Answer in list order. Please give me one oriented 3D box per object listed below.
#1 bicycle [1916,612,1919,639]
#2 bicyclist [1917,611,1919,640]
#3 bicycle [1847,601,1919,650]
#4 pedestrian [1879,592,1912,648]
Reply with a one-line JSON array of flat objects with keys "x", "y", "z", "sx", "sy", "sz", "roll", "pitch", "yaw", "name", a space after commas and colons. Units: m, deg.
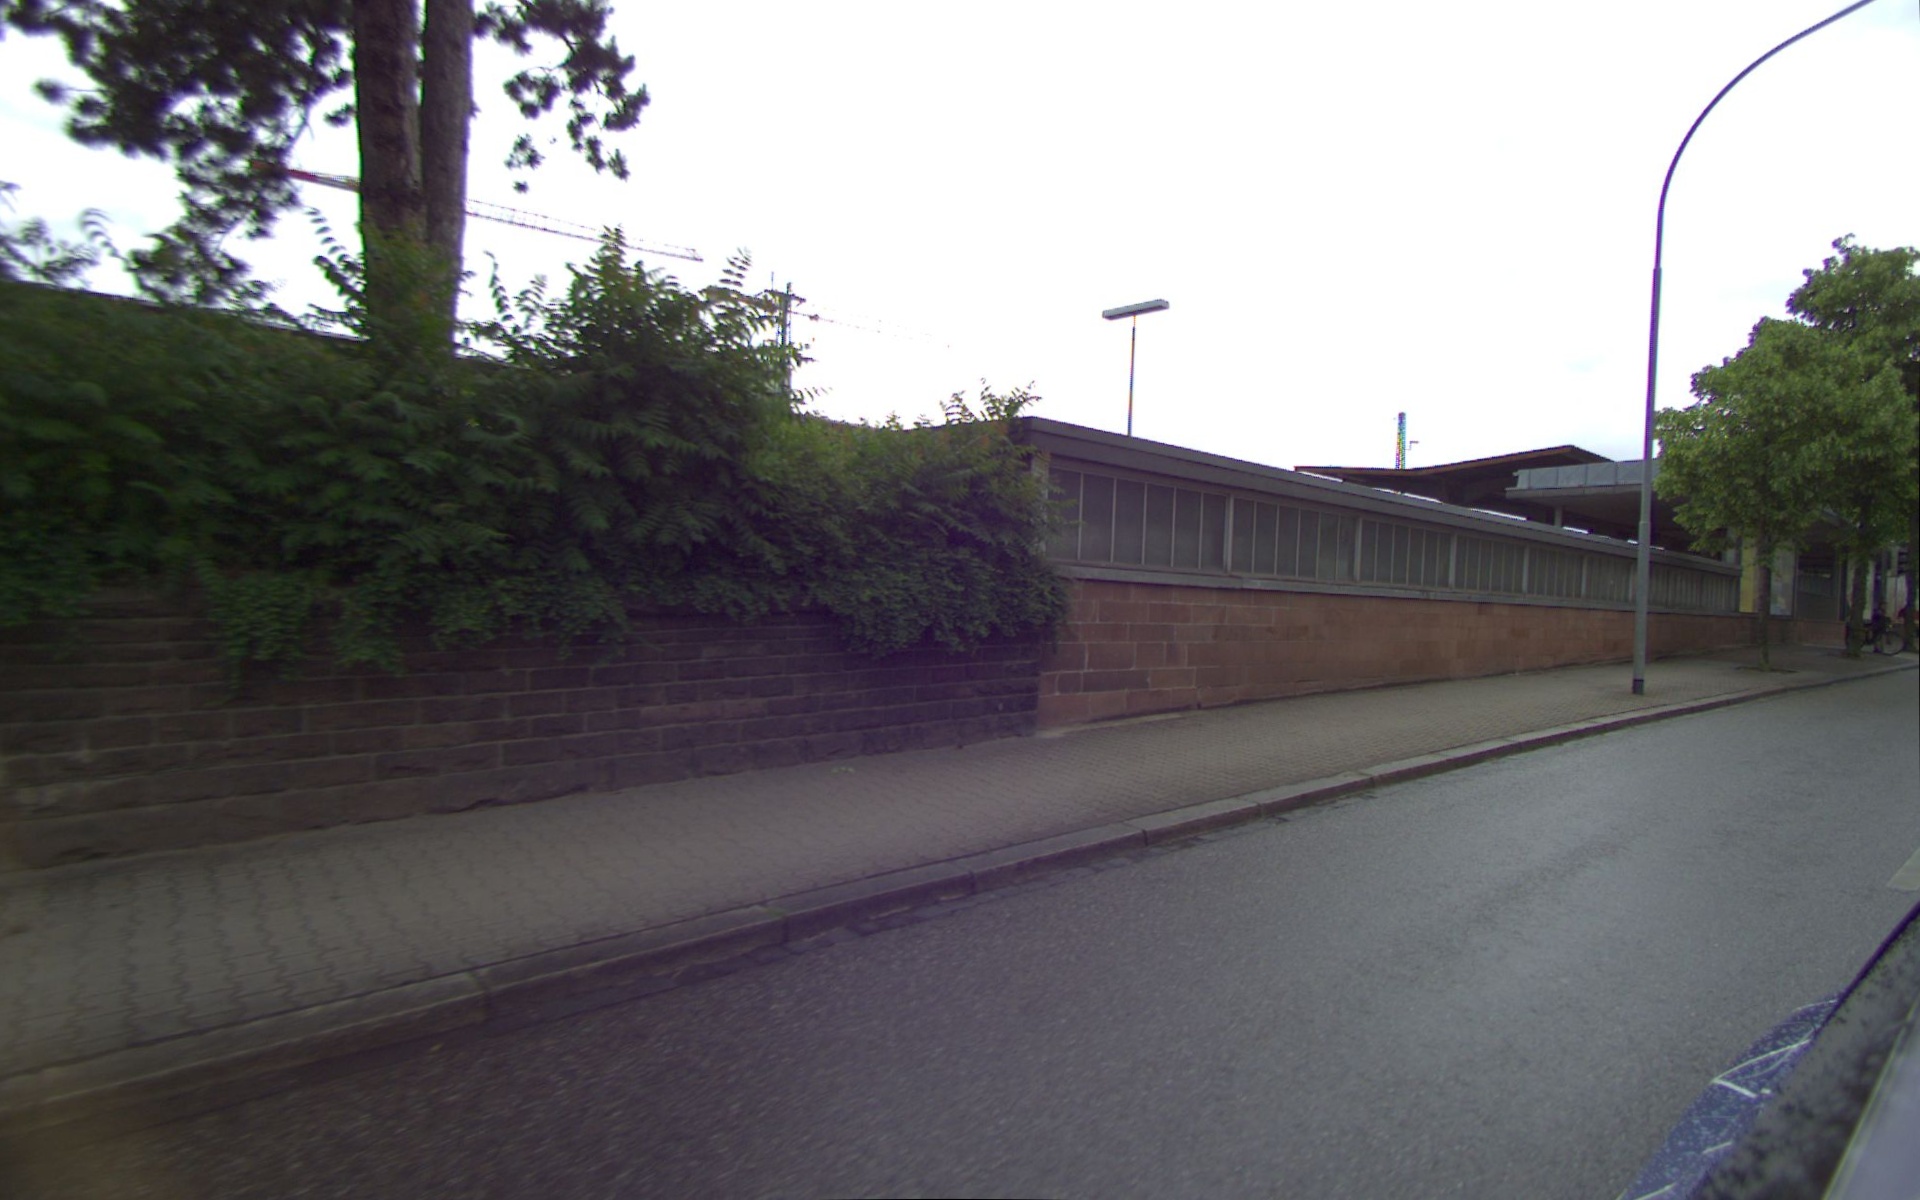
[{"x": 36.552, "y": 0.983, "z": 38.215, "sx": 1.648, "sy": 1.028, "sz": 0.447, "roll": 1, "pitch": 5, "yaw": -42, "name": "bicycle"}, {"x": 36.616, "y": 0.735, "z": 38.217, "sx": 0.682, "sy": 1.556, "sz": 0.535, "roll": 1, "pitch": 4, "yaw": -42, "name": "bicyclist"}, {"x": 27.236, "y": 0.725, "z": 29.766, "sx": 0.476, "sy": 1.263, "sz": 1.729, "roll": 3, "pitch": 3, "yaw": -8, "name": "bicycle"}, {"x": 27.597, "y": 0.581, "z": 29.855, "sx": 0.385, "sy": 1.587, "sz": 0.459, "roll": 3, "pitch": 2, "yaw": -5, "name": "pedestrian"}]
